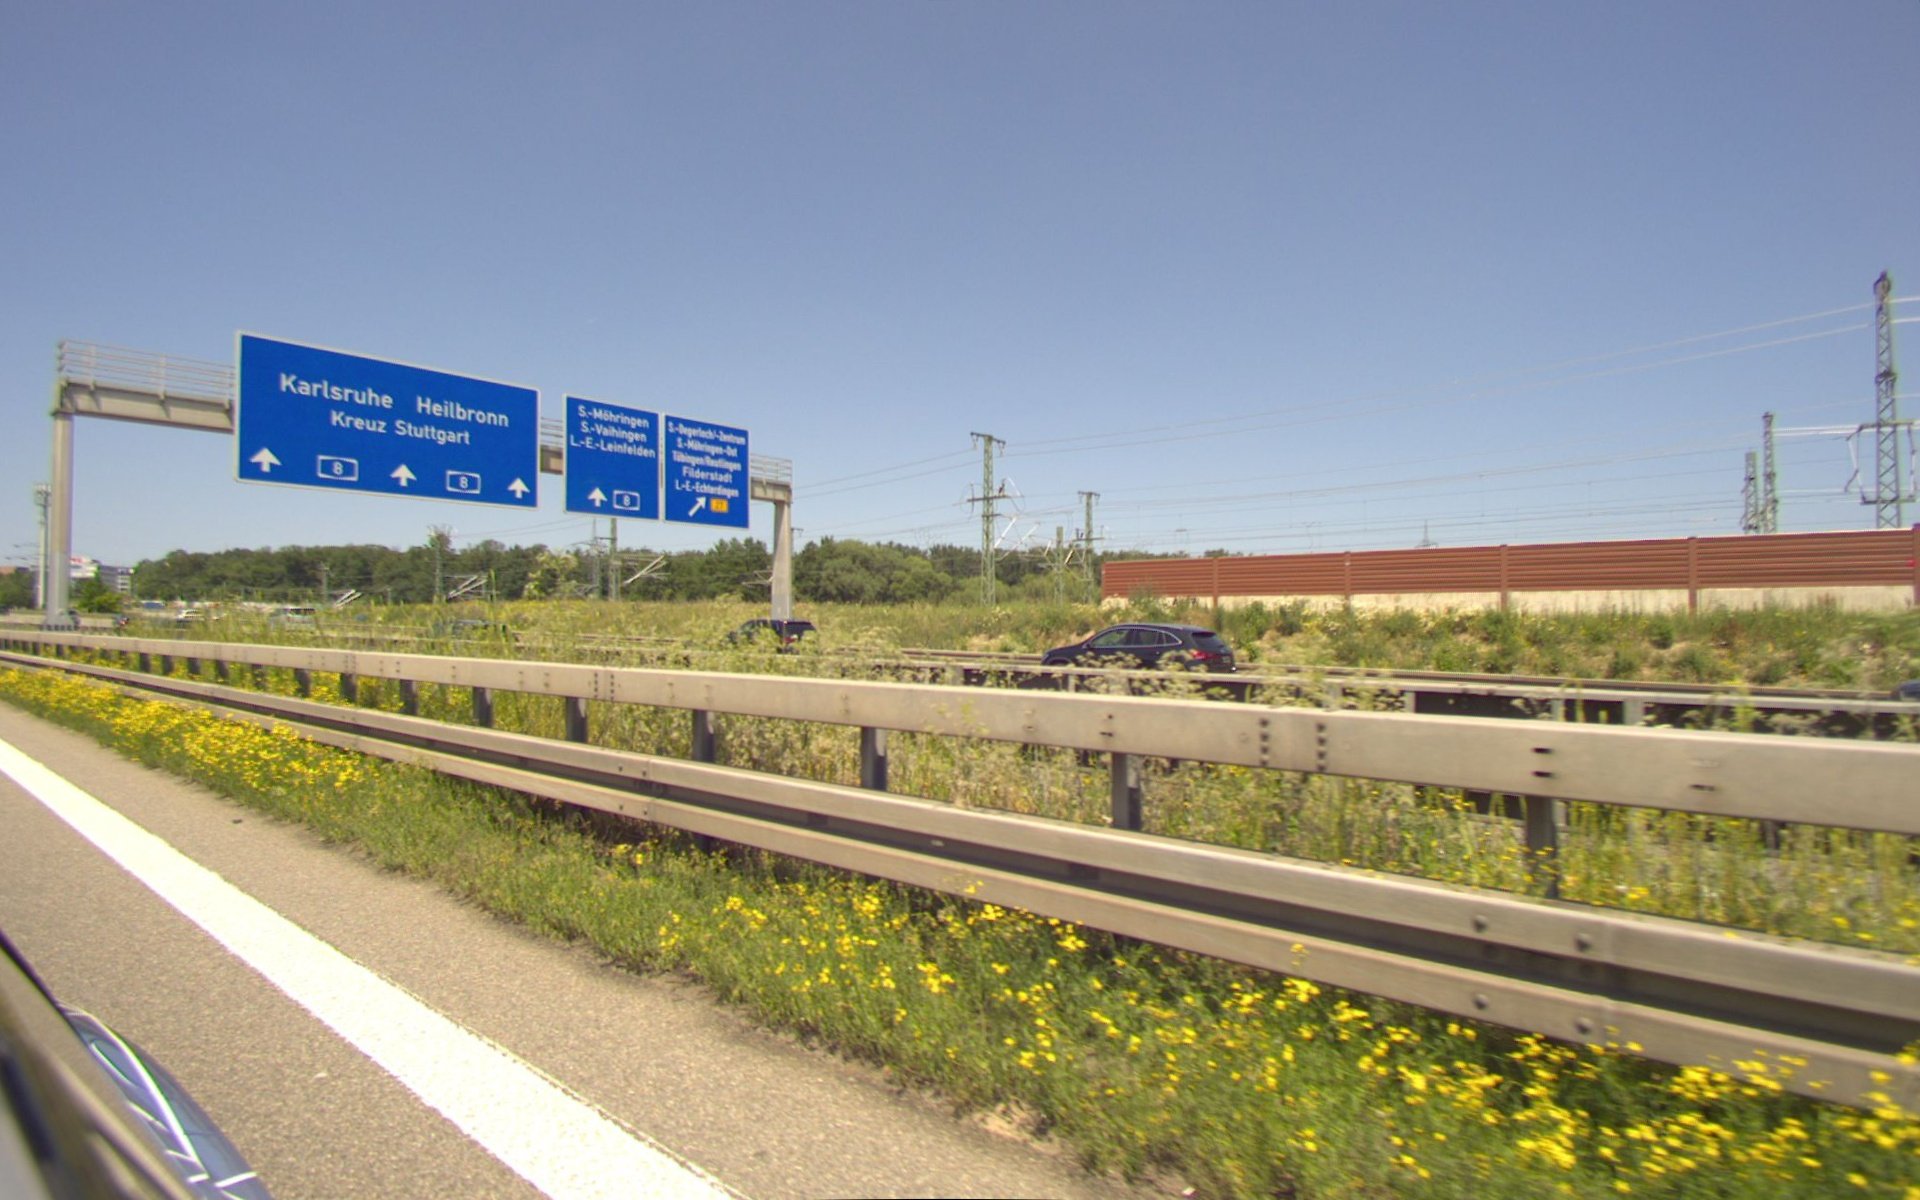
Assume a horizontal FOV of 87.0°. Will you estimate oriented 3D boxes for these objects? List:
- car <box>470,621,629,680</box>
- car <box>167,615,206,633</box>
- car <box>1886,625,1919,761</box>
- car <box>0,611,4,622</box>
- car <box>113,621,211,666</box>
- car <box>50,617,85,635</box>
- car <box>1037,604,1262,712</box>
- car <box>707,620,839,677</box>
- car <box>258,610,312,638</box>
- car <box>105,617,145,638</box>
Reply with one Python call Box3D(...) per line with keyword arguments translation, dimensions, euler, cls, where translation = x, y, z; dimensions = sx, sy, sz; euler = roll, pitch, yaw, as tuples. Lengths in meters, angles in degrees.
Box3D(translation=(-10.628, 1.241, 26.077), dimensions=(4.507, 1.405, 1.849), euler=(-1, -1, 39), cls="car")
Box3D(translation=(-70.810, 2.200, 92.629), dimensions=(4.475, 1.588, 1.973), euler=(-1, -1, 41), cls="car")
Box3D(translation=(14.702, 1.199, 12.654), dimensions=(4.511, 1.739, 1.973), euler=(-1, -1, 41), cls="car")
Box3D(translation=(-146.901, 2.520, 153.816), dimensions=(4.932, 1.609, 1.973), euler=(-1, -1, 41), cls="car")
Box3D(translation=(-27.096, 1.430, 34.338), dimensions=(4.268, 1.405, 1.848), euler=(-1, -1, 41), cls="car")
Box3D(translation=(-83.920, 2.415, 95.127), dimensions=(4.475, 1.588, 1.973), euler=(-1, -1, 41), cls="car")
Box3D(translation=(3.946, 1.111, 21.480), dimensions=(4.307, 2.029, 1.973), euler=(0, 1, 41), cls="car")
Box3D(translation=(-6.268, 1.558, 33.637), dimensions=(4.511, 1.739, 1.972), euler=(-1, -1, 42), cls="car")
Box3D(translation=(-47.553, 1.703, 71.292), dimensions=(4.975, 1.900, 1.972), euler=(-1, -1, 42), cls="car")
Box3D(translation=(-68.495, 2.243, 83.036), dimensions=(4.477, 1.588, 1.972), euler=(-1, -1, 43), cls="car")
